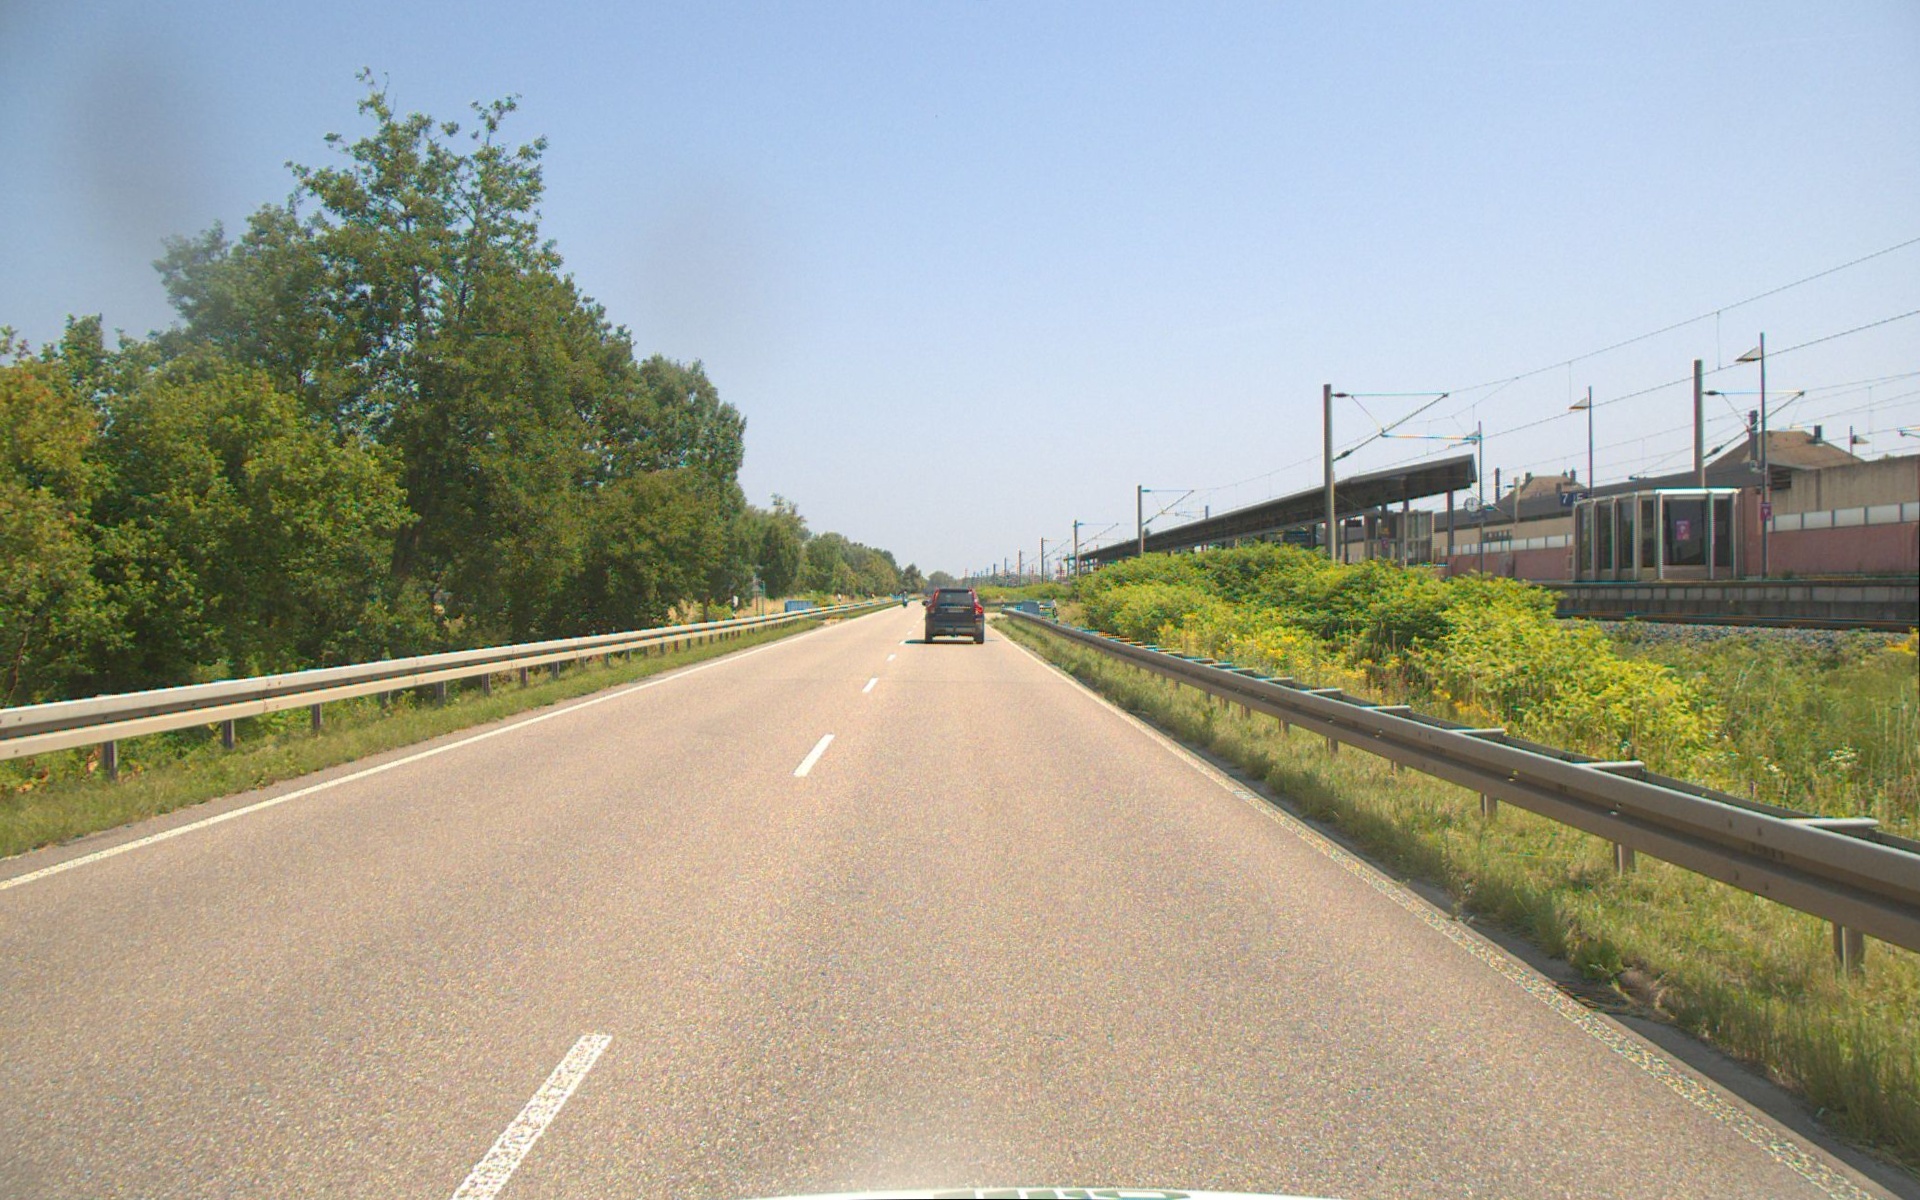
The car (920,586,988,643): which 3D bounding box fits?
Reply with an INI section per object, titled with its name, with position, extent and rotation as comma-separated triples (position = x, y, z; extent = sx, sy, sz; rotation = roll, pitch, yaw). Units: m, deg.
[car]
position = -0.230, 0.440, 52.184
extent = 1.954, 1.730, 3.998
rotation = 0, 0, -3
